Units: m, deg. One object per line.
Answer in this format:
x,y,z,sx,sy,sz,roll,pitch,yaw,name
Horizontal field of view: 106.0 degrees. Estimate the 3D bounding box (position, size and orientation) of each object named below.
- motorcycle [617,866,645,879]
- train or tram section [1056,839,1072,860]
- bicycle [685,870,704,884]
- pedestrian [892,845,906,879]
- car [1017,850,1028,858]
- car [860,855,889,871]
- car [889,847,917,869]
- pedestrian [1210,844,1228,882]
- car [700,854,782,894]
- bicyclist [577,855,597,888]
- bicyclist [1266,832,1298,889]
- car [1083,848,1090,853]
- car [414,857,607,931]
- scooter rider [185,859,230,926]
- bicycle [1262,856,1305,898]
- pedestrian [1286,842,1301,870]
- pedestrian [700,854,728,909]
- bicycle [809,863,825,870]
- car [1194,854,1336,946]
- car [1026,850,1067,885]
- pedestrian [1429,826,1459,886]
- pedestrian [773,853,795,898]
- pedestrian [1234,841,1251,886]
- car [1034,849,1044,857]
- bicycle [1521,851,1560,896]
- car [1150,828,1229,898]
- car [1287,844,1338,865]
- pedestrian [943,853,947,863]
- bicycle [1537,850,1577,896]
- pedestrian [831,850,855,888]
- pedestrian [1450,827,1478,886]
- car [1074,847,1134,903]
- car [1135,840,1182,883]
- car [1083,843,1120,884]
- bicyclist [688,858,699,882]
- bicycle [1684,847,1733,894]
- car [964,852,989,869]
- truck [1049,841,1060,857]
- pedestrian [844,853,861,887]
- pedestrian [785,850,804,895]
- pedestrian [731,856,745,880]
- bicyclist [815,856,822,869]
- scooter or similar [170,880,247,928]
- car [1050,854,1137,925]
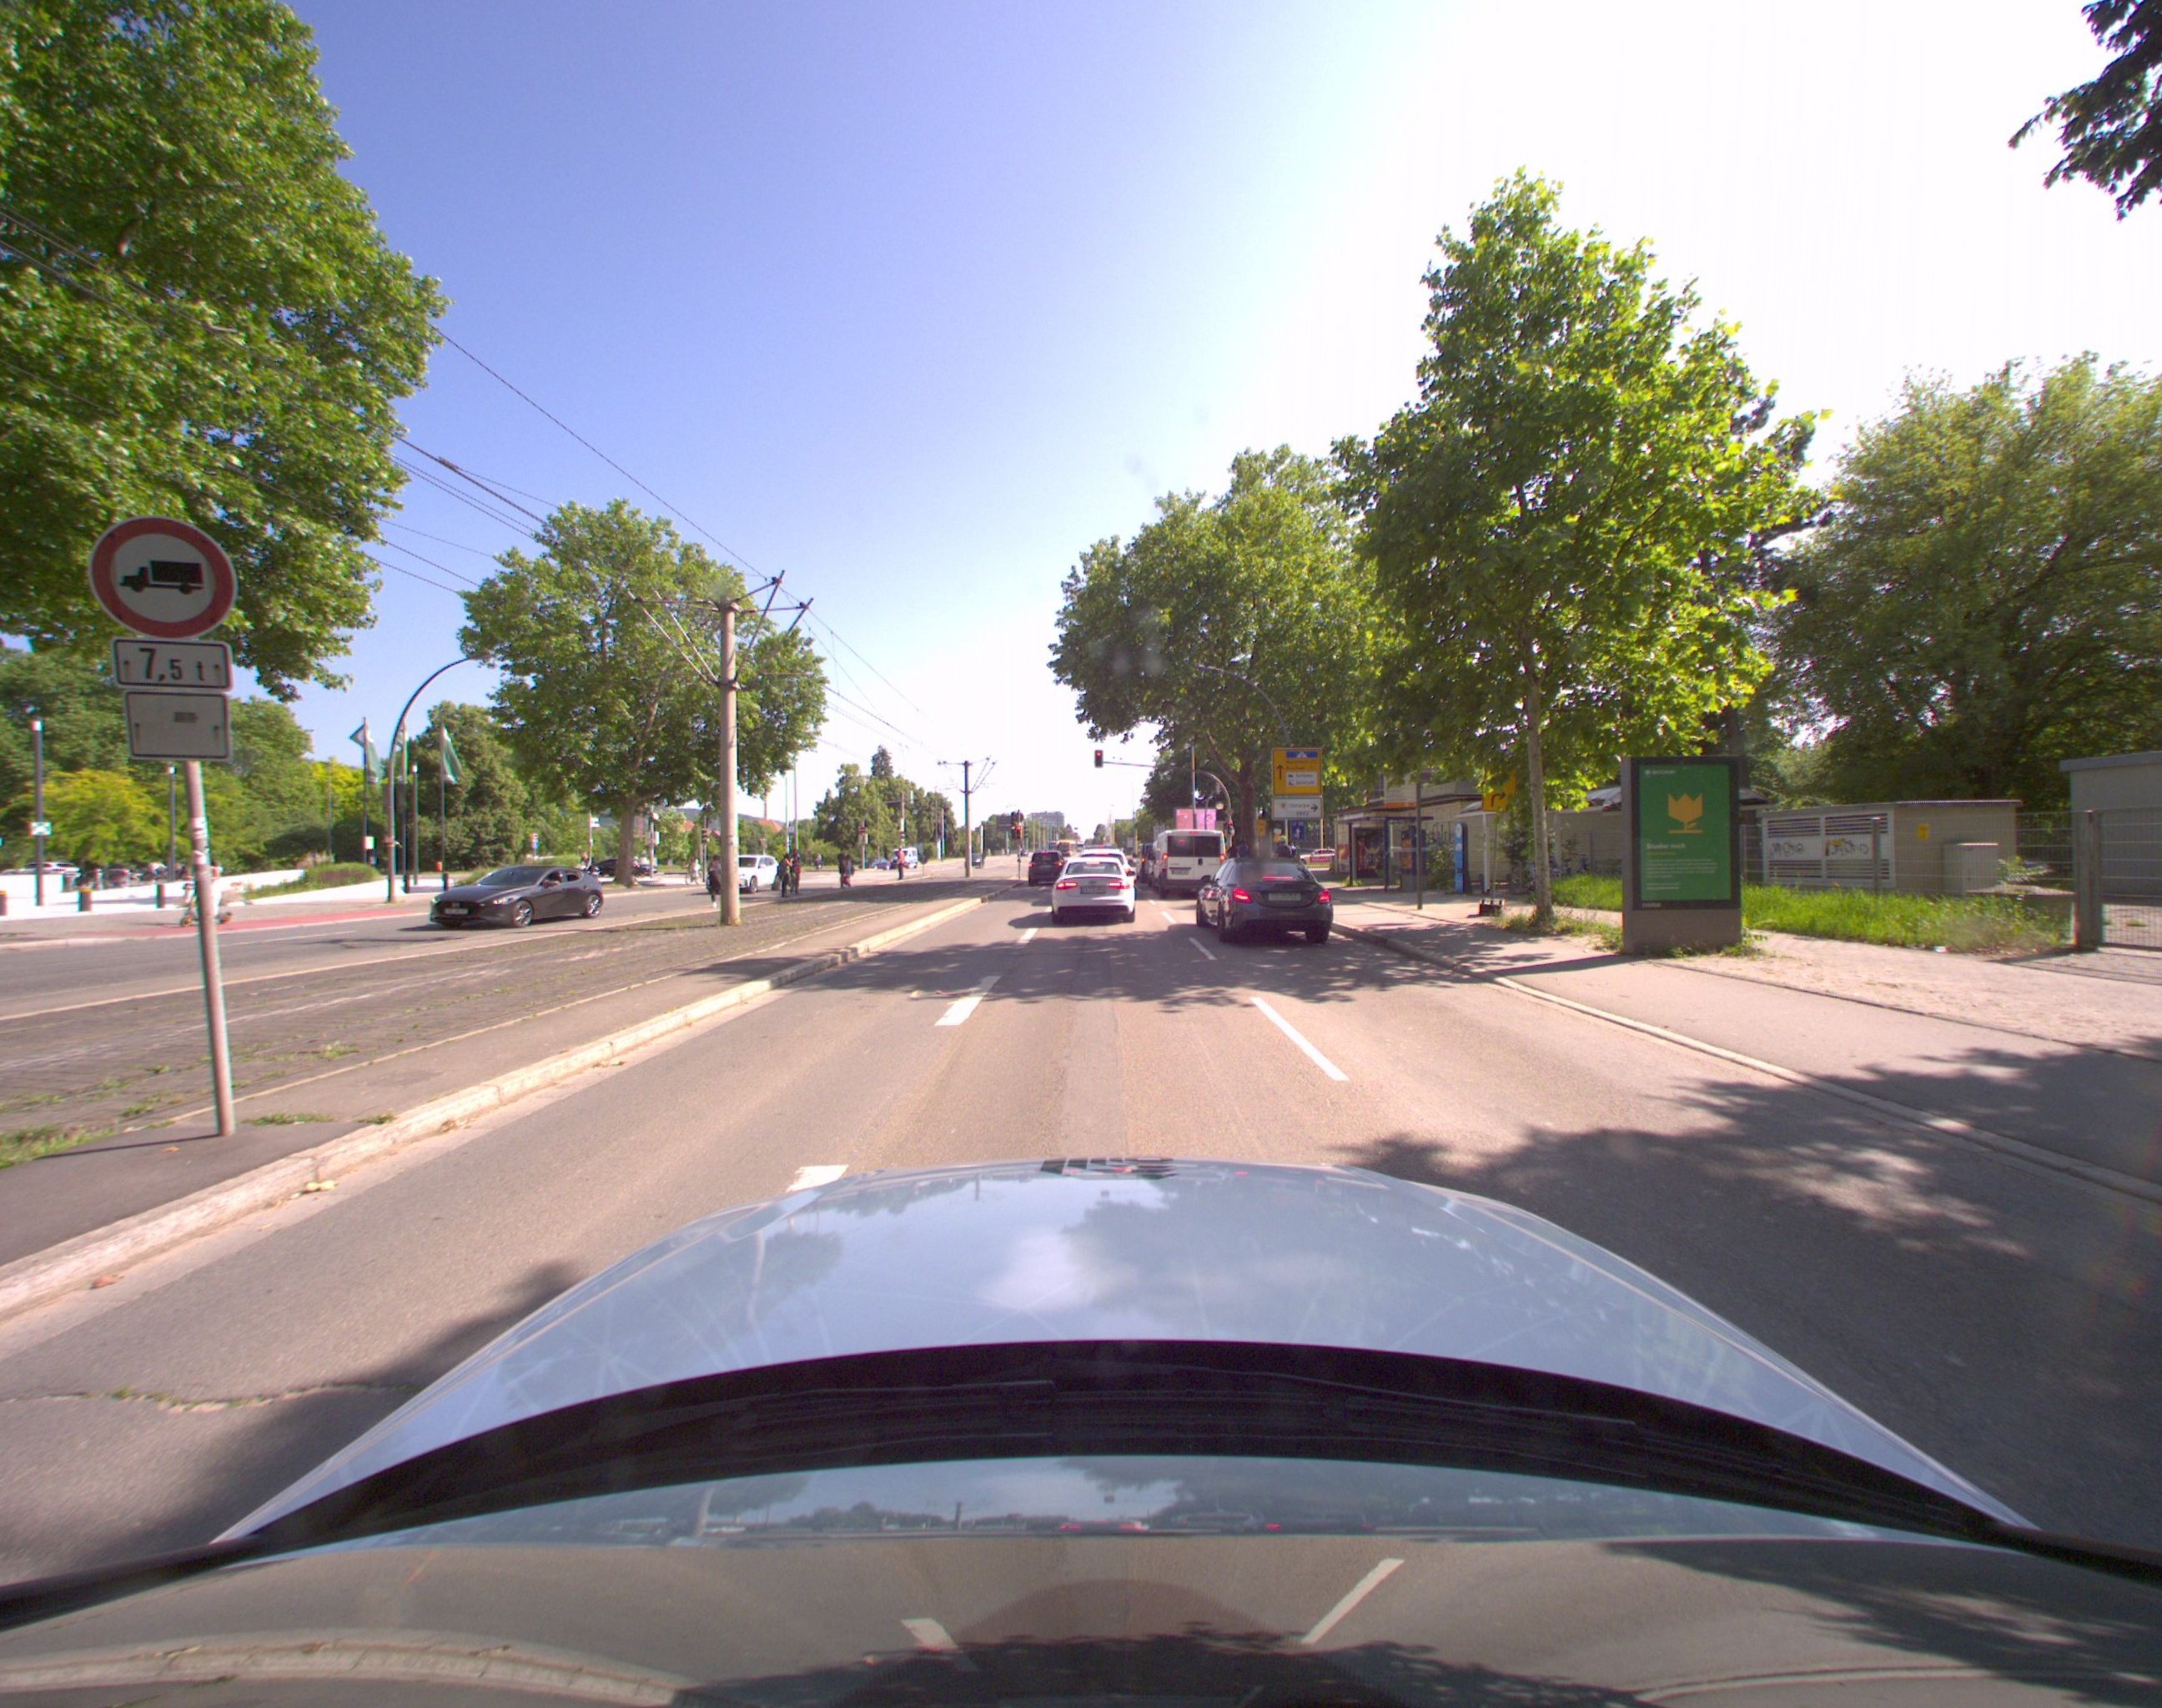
-33.063,1.341,59.866,1.638,0.891,0.650,-1,0,1,motorcycle
-3.305,-0.898,161.331,2.607,4.015,7.752,-1,0,2,train or tram section
-21.247,1.266,44.768,0.419,0.748,1.146,-1,0,2,bicycle
-10.548,0.452,47.254,0.621,1.918,0.690,-1,0,1,pedestrian
-12.381,-0.062,171.761,1.987,1.641,3.999,-1,0,0,car
-21.086,0.920,83.167,1.823,1.519,3.947,-1,0,2,car
-19.899,0.406,91.016,2.106,2.383,4.002,-1,0,2,car
6.277,0.409,37.078,0.600,1.694,0.954,-3,0,1,pedestrian
-14.503,0.821,34.938,1.757,1.609,3.862,-1,0,2,car
-21.414,0.762,35.291,0.478,1.416,0.592,-1,0,1,bicyclist
6.050,0.196,24.500,0.632,1.648,0.979,-3,0,0,bicyclist
1.612,-1.099,248.081,1.863,1.609,4.004,-1,0,4,car
-13.924,0.893,20.206,1.864,1.609,4.002,-1,0,2,car
-21.813,0.958,20.347,0.504,1.631,0.566,-1,0,1,scooter rider
6.090,0.671,24.592,0.712,1.148,2.178,-3,0,0,bicycle
13.546,0.134,51.944,0.774,1.788,0.765,-1,0,5,pedestrian
-11.036,0.801,24.519,0.761,1.623,0.590,0,0,-24,pedestrian
-26.817,1.281,82.593,0.486,0.731,1.632,-1,0,30,bicycle
3.173,0.722,14.827,1.776,1.420,4.001,-1,0,1,car
-1.638,0.623,39.951,1.723,1.631,4.001,-1,0,1,car
11.774,0.067,26.411,0.611,1.896,0.694,-1,0,-2,pedestrian
-11.035,0.784,30.236,0.590,1.646,0.554,-1,0,1,pedestrian
7.080,0.414,35.693,0.633,1.946,0.719,-1,0,1,pedestrian
-8.989,-0.143,173.815,1.987,1.641,3.999,-1,0,0,car
12.199,0.500,21.636,0.388,1.180,1.174,-1,0,2,bicycle
3.582,0.277,27.747,2.222,2.212,4.163,-1,0,1,car
19.148,0.066,67.364,3.763,1.672,1.794,-1,0,2,car
-21.409,0.577,128.039,0.419,1.549,0.552,-1,0,2,pedestrian
12.661,0.490,21.687,0.388,1.180,1.174,-1,0,2,bicycle
-10.831,0.670,37.120,0.770,1.734,0.756,-1,0,10,pedestrian
12.480,0.069,26.539,0.611,1.896,0.597,-1,0,-2,pedestrian
0.727,0.597,25.477,1.723,1.605,3.886,-1,0,1,car
3.847,0.348,40.971,2.064,1.999,4.059,-1,0,1,car
1.020,0.419,40.110,1.723,1.901,4.001,-1,0,1,car
-21.251,0.892,44.685,0.384,1.311,0.466,-1,0,2,bicyclist
16.369,0.412,21.257,0.388,1.180,1.174,-1,0,2,bicycle
-10.850,0.678,85.025,1.986,1.734,4.002,-1,0,2,car
-5.670,-1.074,174.052,1.987,3.324,6.018,-1,0,-1,truck
-10.621,0.733,37.827,0.532,1.598,0.580,-1,0,20,pedestrian
-10.990,0.696,31.243,0.490,1.679,0.644,-1,0,2,pedestrian
-21.990,0.875,52.258,0.620,1.542,0.644,-1,0,0,pedestrian
-26.694,0.853,82.808,0.469,1.292,0.500,-1,0,30,bicyclist
-21.815,1.240,20.381,0.545,1.112,1.248,-1,0,2,scooter or similar
0.303,0.736,18.686,1.778,1.420,3.886,-1,0,1,car
